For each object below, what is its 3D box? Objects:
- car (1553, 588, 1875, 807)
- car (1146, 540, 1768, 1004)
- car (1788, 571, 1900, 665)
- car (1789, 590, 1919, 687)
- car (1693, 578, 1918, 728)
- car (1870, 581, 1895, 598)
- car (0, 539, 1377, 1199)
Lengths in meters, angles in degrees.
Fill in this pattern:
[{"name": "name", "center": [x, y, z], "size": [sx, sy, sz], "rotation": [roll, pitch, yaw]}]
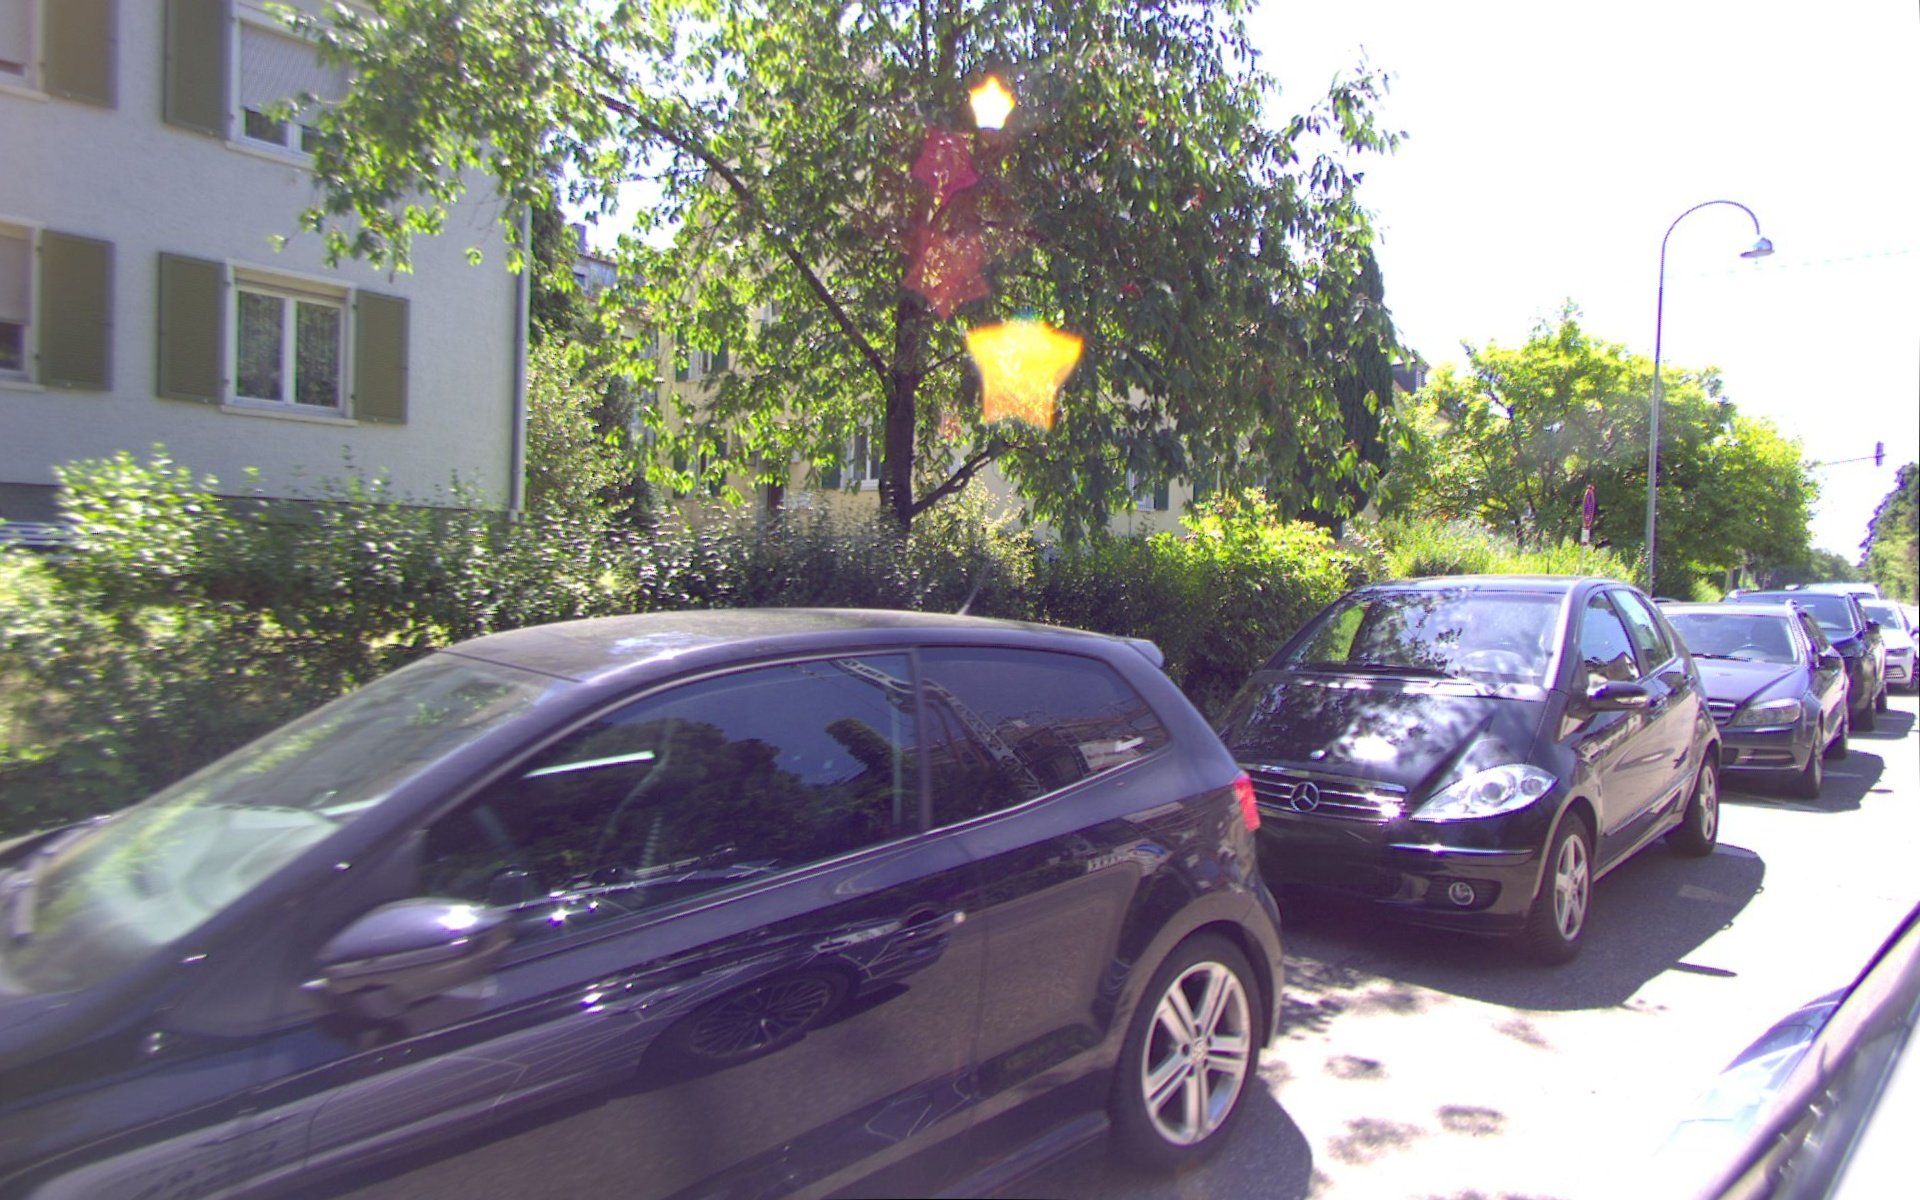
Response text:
[{"name": "car", "center": [6.803, 0.649, 8.948], "size": [4.135, 1.449, 1.663], "rotation": [0, 2, -45]}, {"name": "car", "center": [2.863, 0.577, 5.387], "size": [3.938, 1.595, 1.584], "rotation": [1, 1, -42]}, {"name": "car", "center": [19.093, 0.337, 21.803], "size": [1.661, 1.826, 4.137], "rotation": [0, 0, 43]}, {"name": "car", "center": [15.318, 0.557, 17.055], "size": [4.061, 1.453, 1.662], "rotation": [-1, 0, -45]}, {"name": "car", "center": [10.640, 0.538, 12.633], "size": [4.133, 1.558, 1.664], "rotation": [0, 1, -43]}, {"name": "car", "center": [92.959, -1.110, 102.042], "size": [1.652, 1.580, 3.828], "rotation": [5, 4, 40]}, {"name": "car", "center": [-0.727, 0.668, 2.400], "size": [3.938, 1.461, 1.584], "rotation": [0, -1, -41]}]
